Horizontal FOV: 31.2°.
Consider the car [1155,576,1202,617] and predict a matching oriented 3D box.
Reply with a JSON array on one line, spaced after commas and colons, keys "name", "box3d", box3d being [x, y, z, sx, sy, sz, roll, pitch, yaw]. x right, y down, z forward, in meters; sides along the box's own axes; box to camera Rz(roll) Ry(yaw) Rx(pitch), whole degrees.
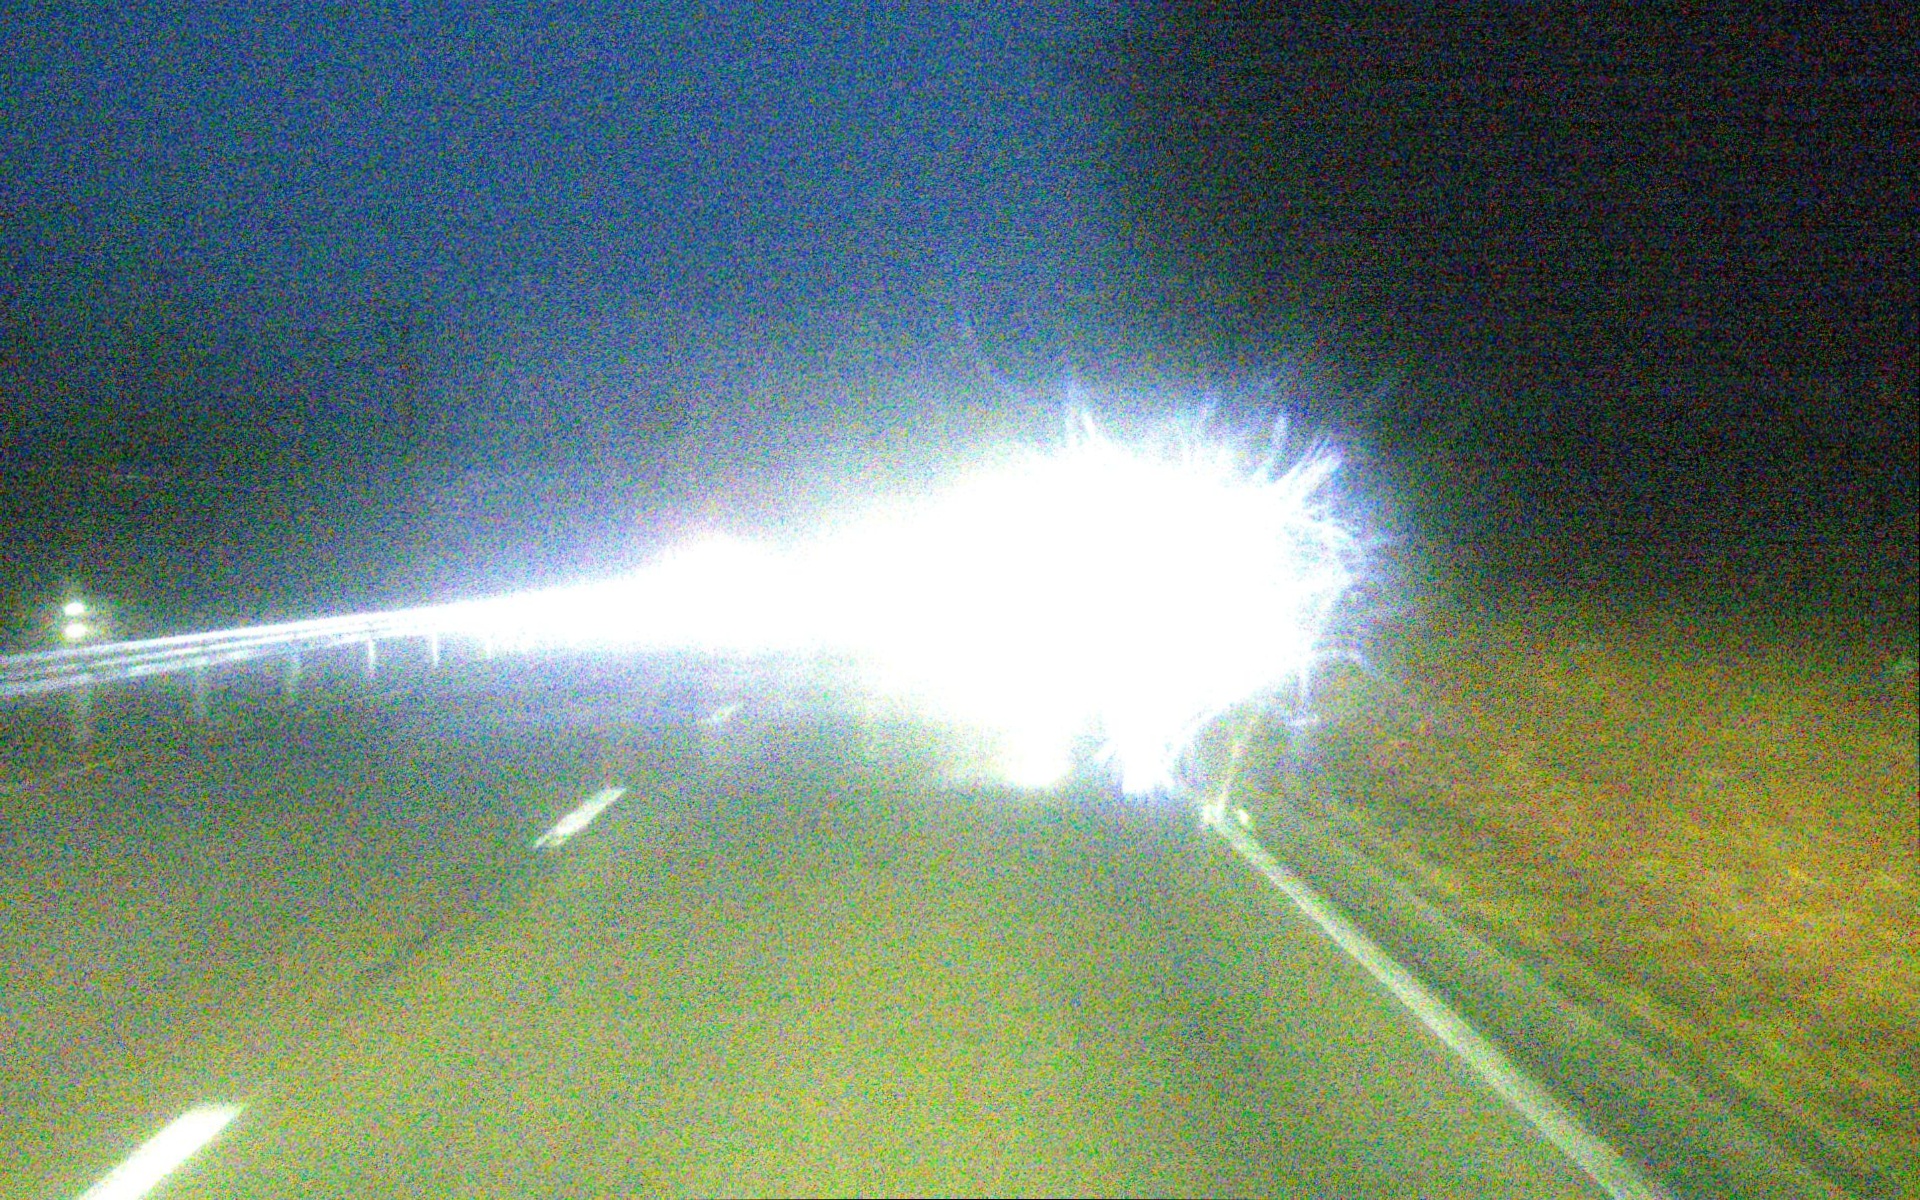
[{"name": "car", "box3d": [9.527, -0.127, 149.653, 1.994, 1.687, 4.697, 1, -1, 4]}]
